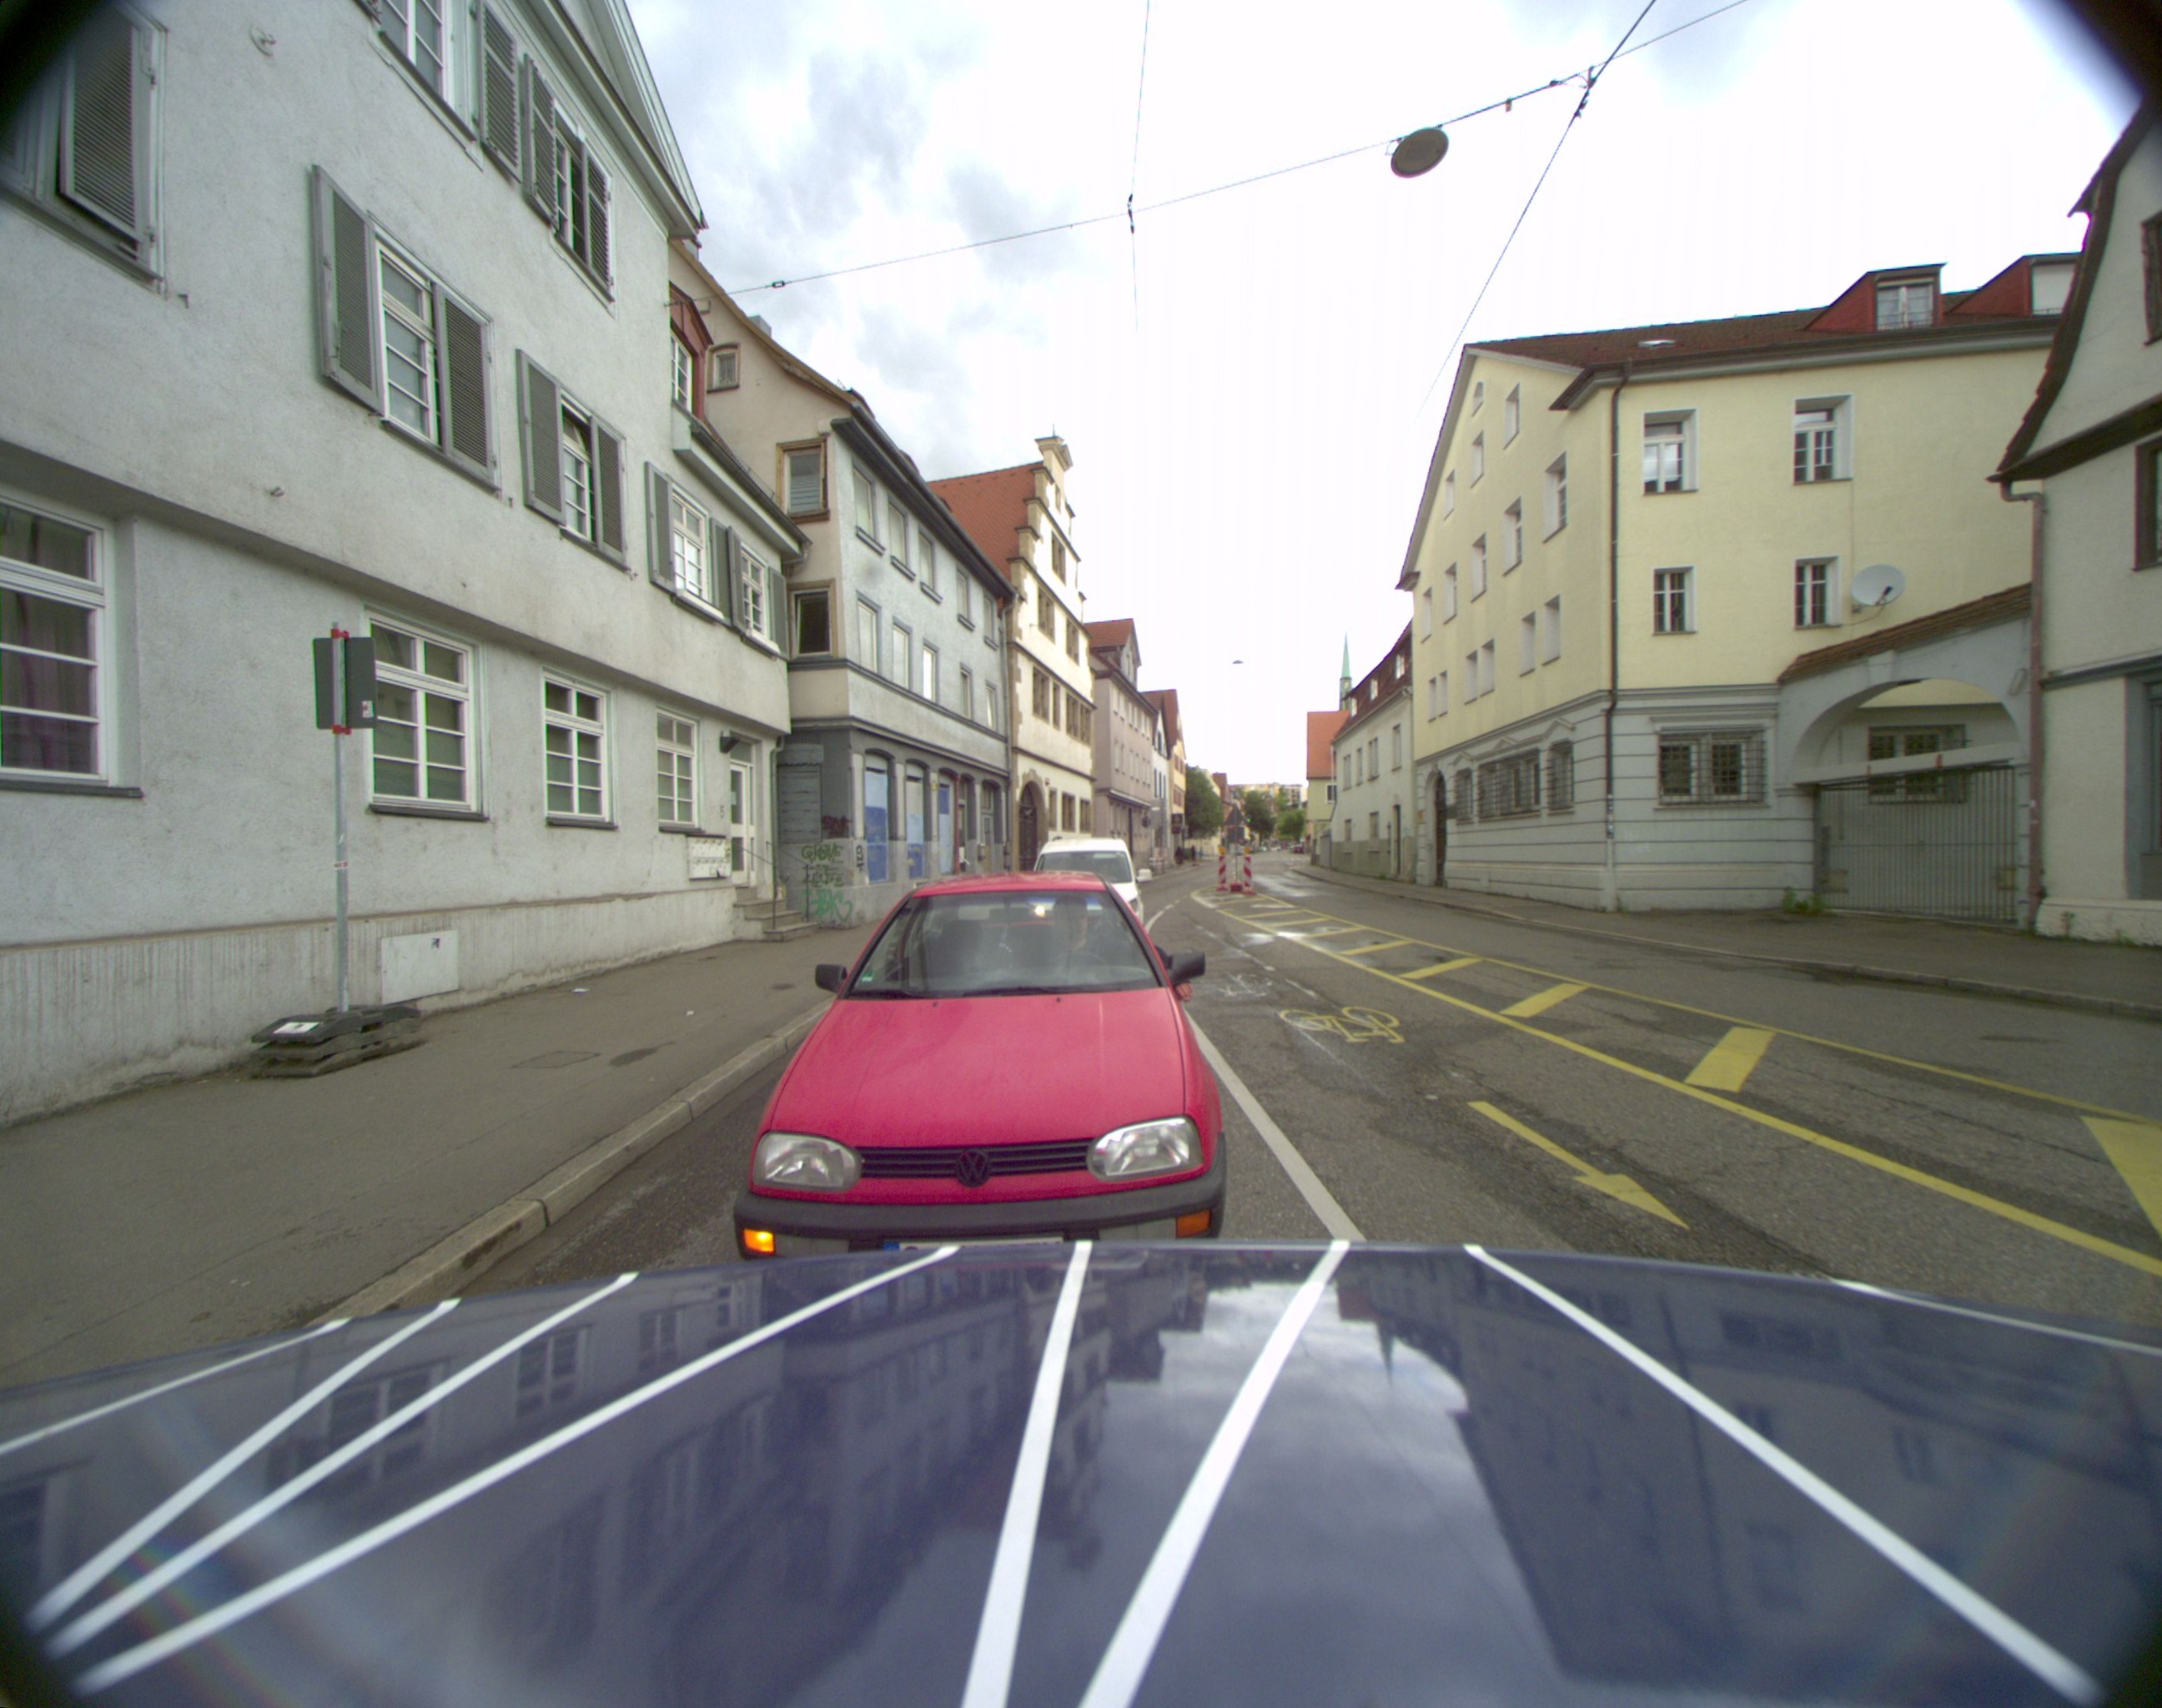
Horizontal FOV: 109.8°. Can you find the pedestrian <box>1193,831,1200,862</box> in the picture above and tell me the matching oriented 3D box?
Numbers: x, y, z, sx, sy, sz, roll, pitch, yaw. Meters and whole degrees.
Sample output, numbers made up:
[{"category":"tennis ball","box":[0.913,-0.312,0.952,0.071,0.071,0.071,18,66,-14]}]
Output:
[{"category":"pedestrian","box":[9.652,-0.633,63.678,0.495,2.513,0.746,-1,1,12]}]

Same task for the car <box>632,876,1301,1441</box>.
[{"category":"car","box":[-0.285,0.893,4.076,1.792,1.417,4.000,-2,0,1]}]

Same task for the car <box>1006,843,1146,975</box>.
[{"category":"car","box":[0.019,0.699,12.152,1.814,1.695,4.256,-1,1,2]}]

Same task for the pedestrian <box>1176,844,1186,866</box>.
[{"category":"pedestrian","box":[7.603,0.088,57.885,0.725,1.604,0.649,-1,0,11]}]
